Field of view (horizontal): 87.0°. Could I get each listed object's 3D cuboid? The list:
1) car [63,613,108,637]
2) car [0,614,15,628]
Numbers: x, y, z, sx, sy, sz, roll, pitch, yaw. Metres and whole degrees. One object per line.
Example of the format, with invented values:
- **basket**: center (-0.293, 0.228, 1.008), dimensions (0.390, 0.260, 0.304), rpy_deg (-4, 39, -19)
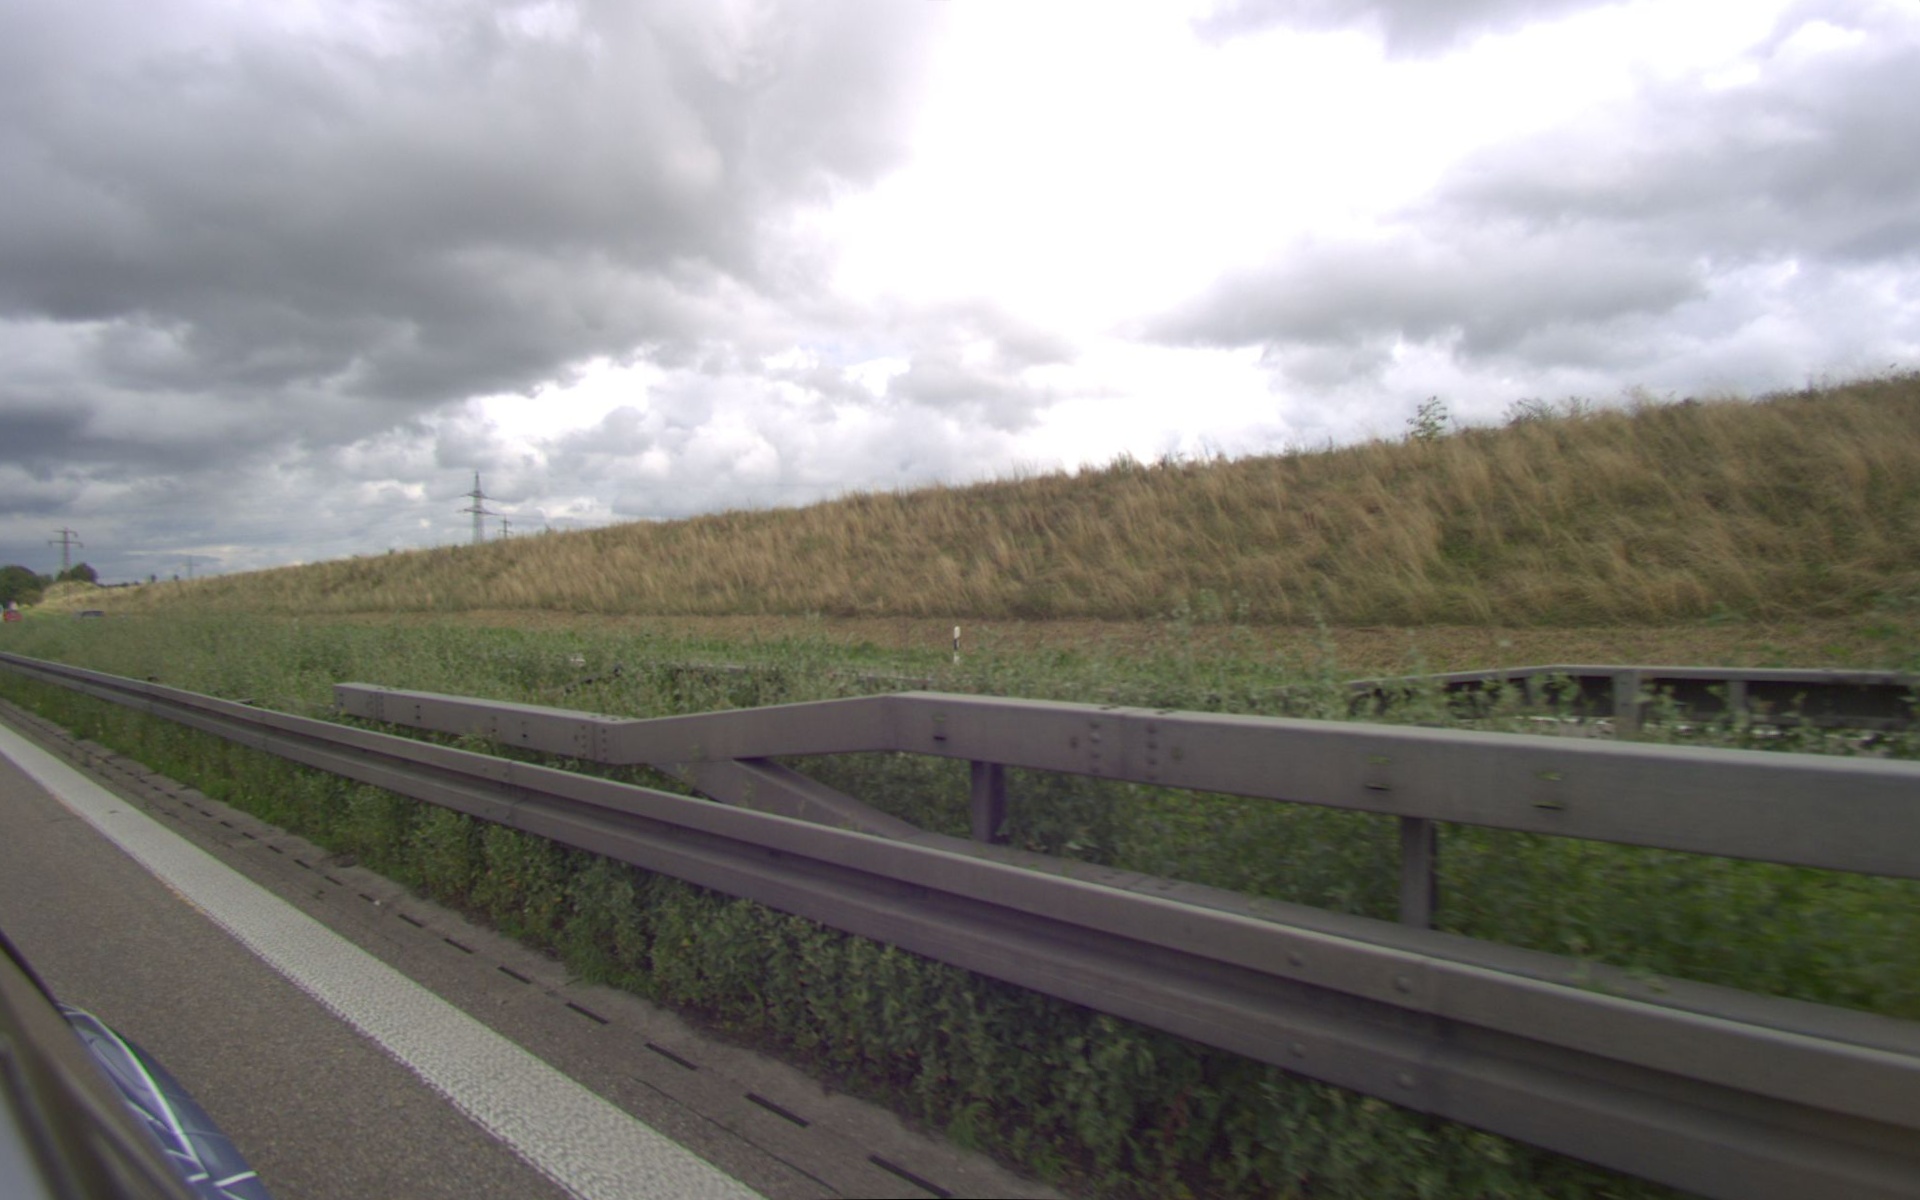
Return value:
- **car**: center (-57.361, 1.613, 66.369), dimensions (4.000, 1.465, 1.753), rpy_deg (0, 0, 43)
- **car**: center (-104.697, 2.284, 110.605), dimensions (4.342, 1.414, 1.705), rpy_deg (0, 0, 43)
